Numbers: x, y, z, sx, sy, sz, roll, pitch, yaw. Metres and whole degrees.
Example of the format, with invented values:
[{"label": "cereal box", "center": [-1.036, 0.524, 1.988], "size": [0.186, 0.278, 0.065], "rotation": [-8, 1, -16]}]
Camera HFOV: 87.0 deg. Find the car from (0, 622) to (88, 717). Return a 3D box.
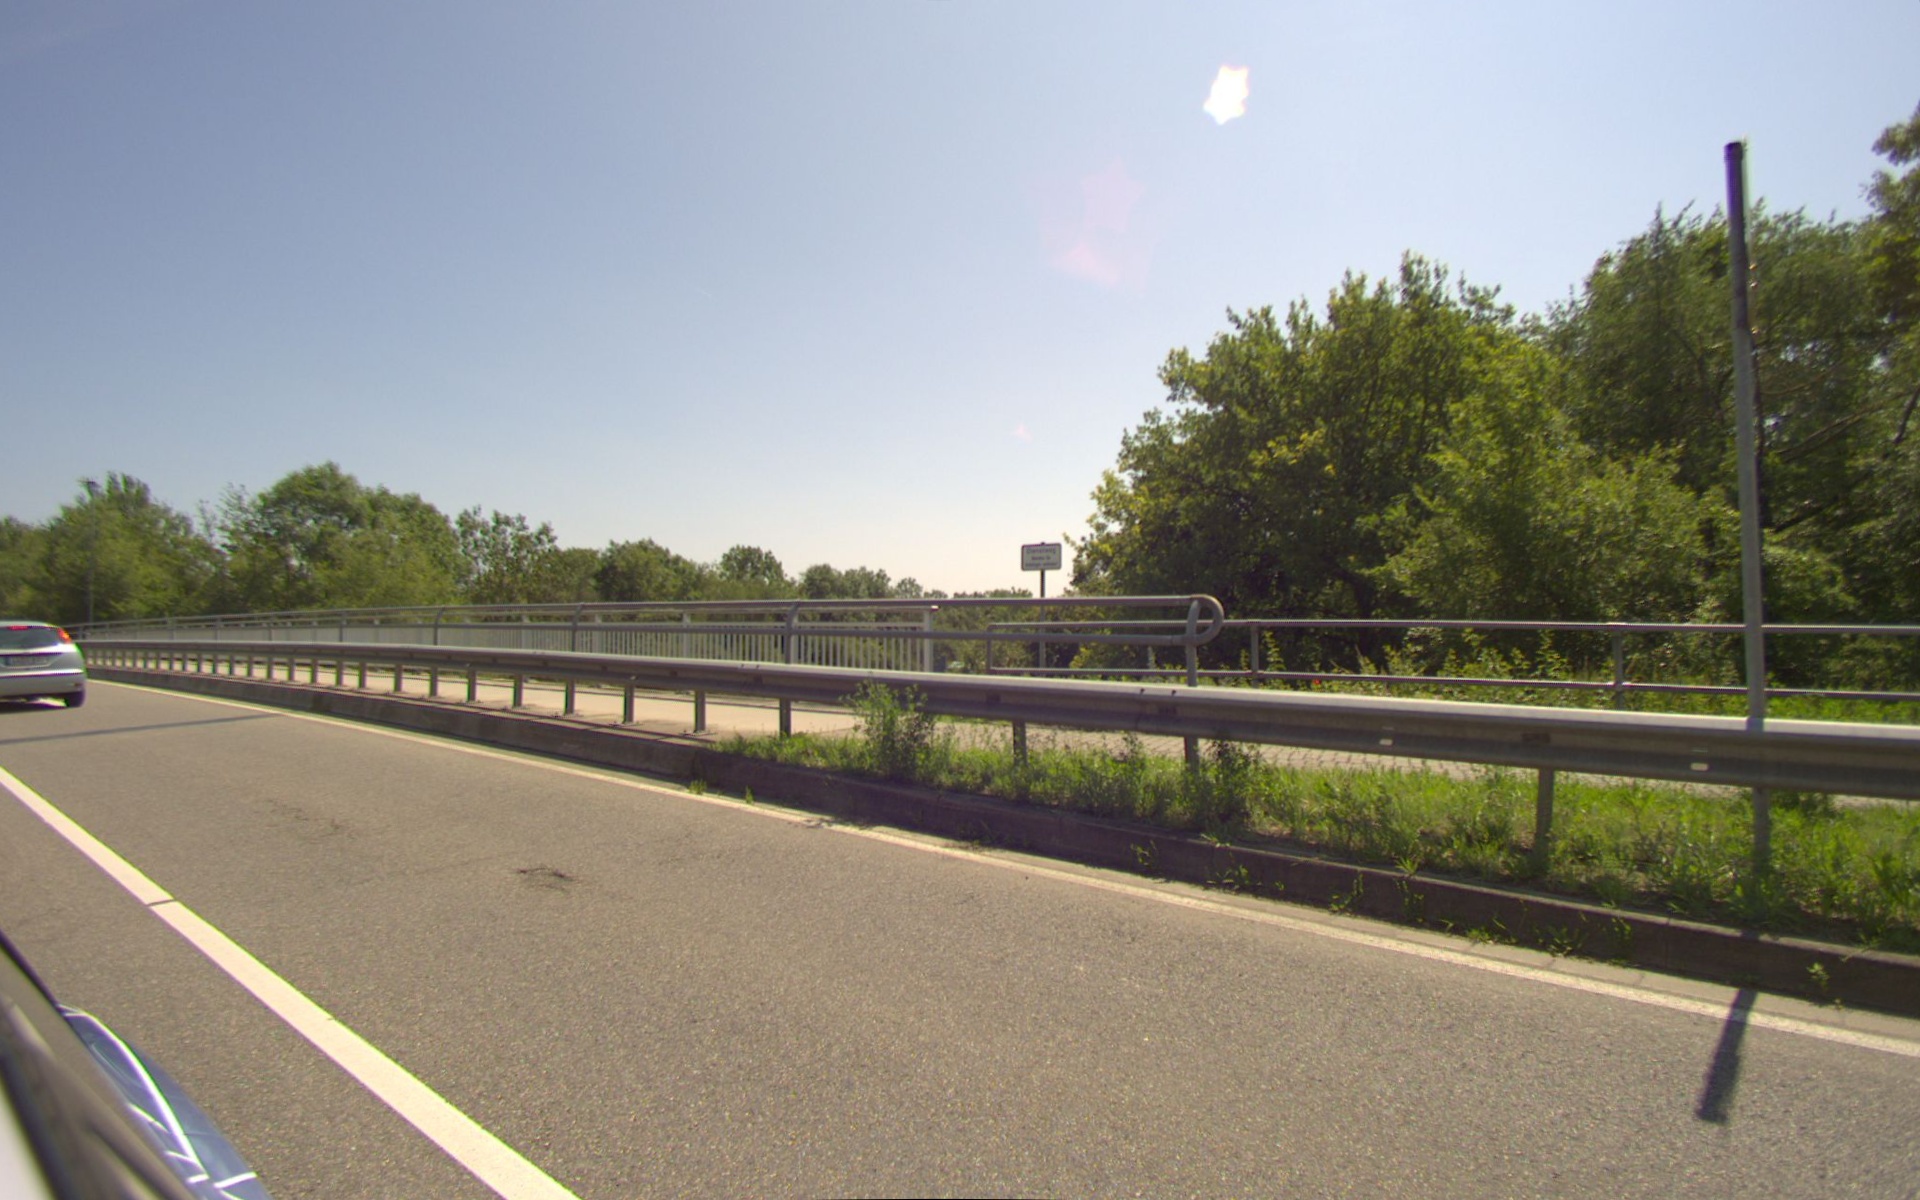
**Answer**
[{"label": "car", "center": [-16.221, 1.118, 17.132], "size": [3.705, 1.468, 1.777], "rotation": [-1, -1, 42]}]
